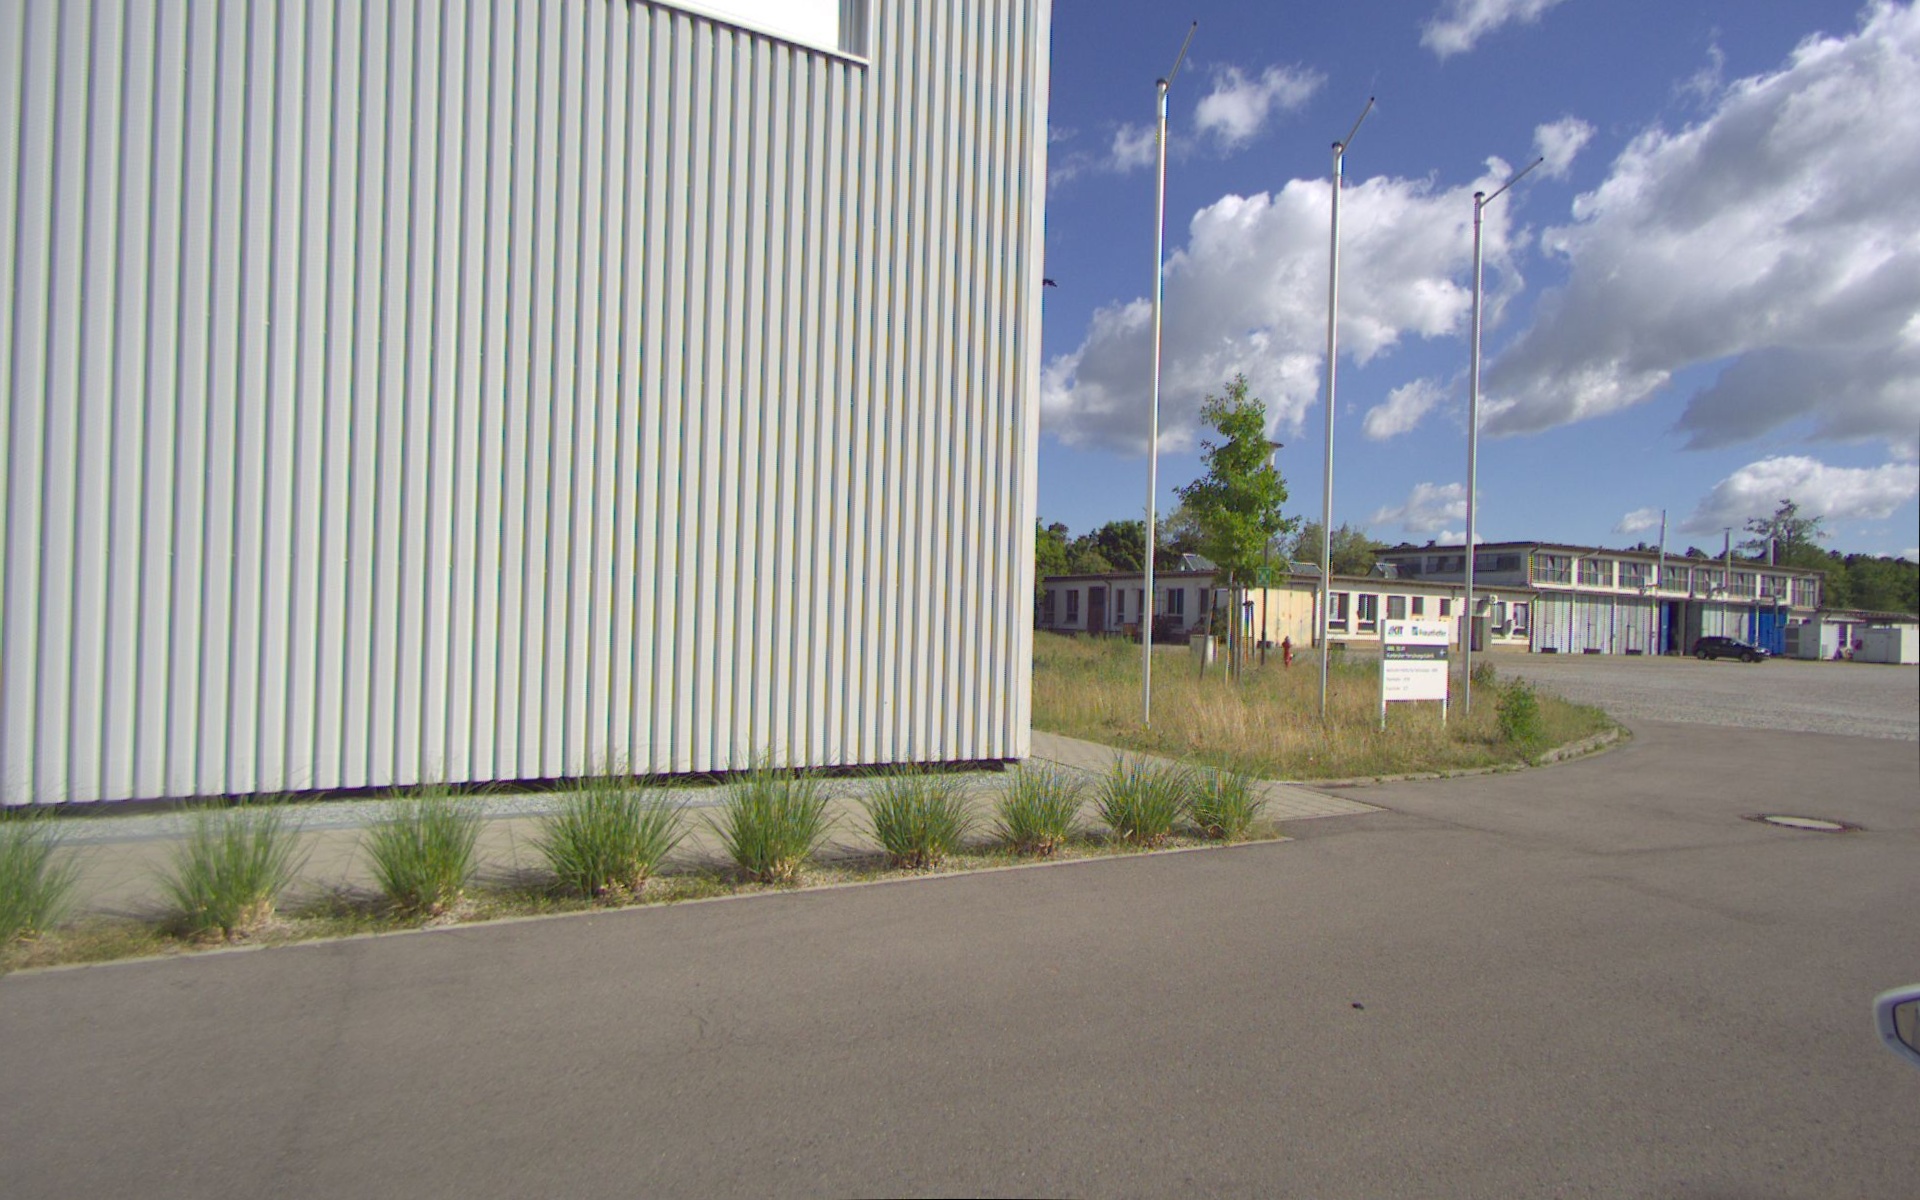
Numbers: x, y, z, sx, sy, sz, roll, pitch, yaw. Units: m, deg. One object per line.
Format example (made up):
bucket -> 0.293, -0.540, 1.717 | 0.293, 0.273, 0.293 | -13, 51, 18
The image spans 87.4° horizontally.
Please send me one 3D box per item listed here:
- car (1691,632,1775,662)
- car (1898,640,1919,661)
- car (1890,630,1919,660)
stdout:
car -> 52.682, 3.189, 68.509 | 1.762, 1.688, 4.144 | 3, 0, -28
car -> 81.725, 4.292, 84.196 | 1.782, 1.652, 4.101 | 2, -1, -23
car -> 83.859, 3.948, 86.441 | 2.020, 2.474, 5.246 | 2, -1, -23
